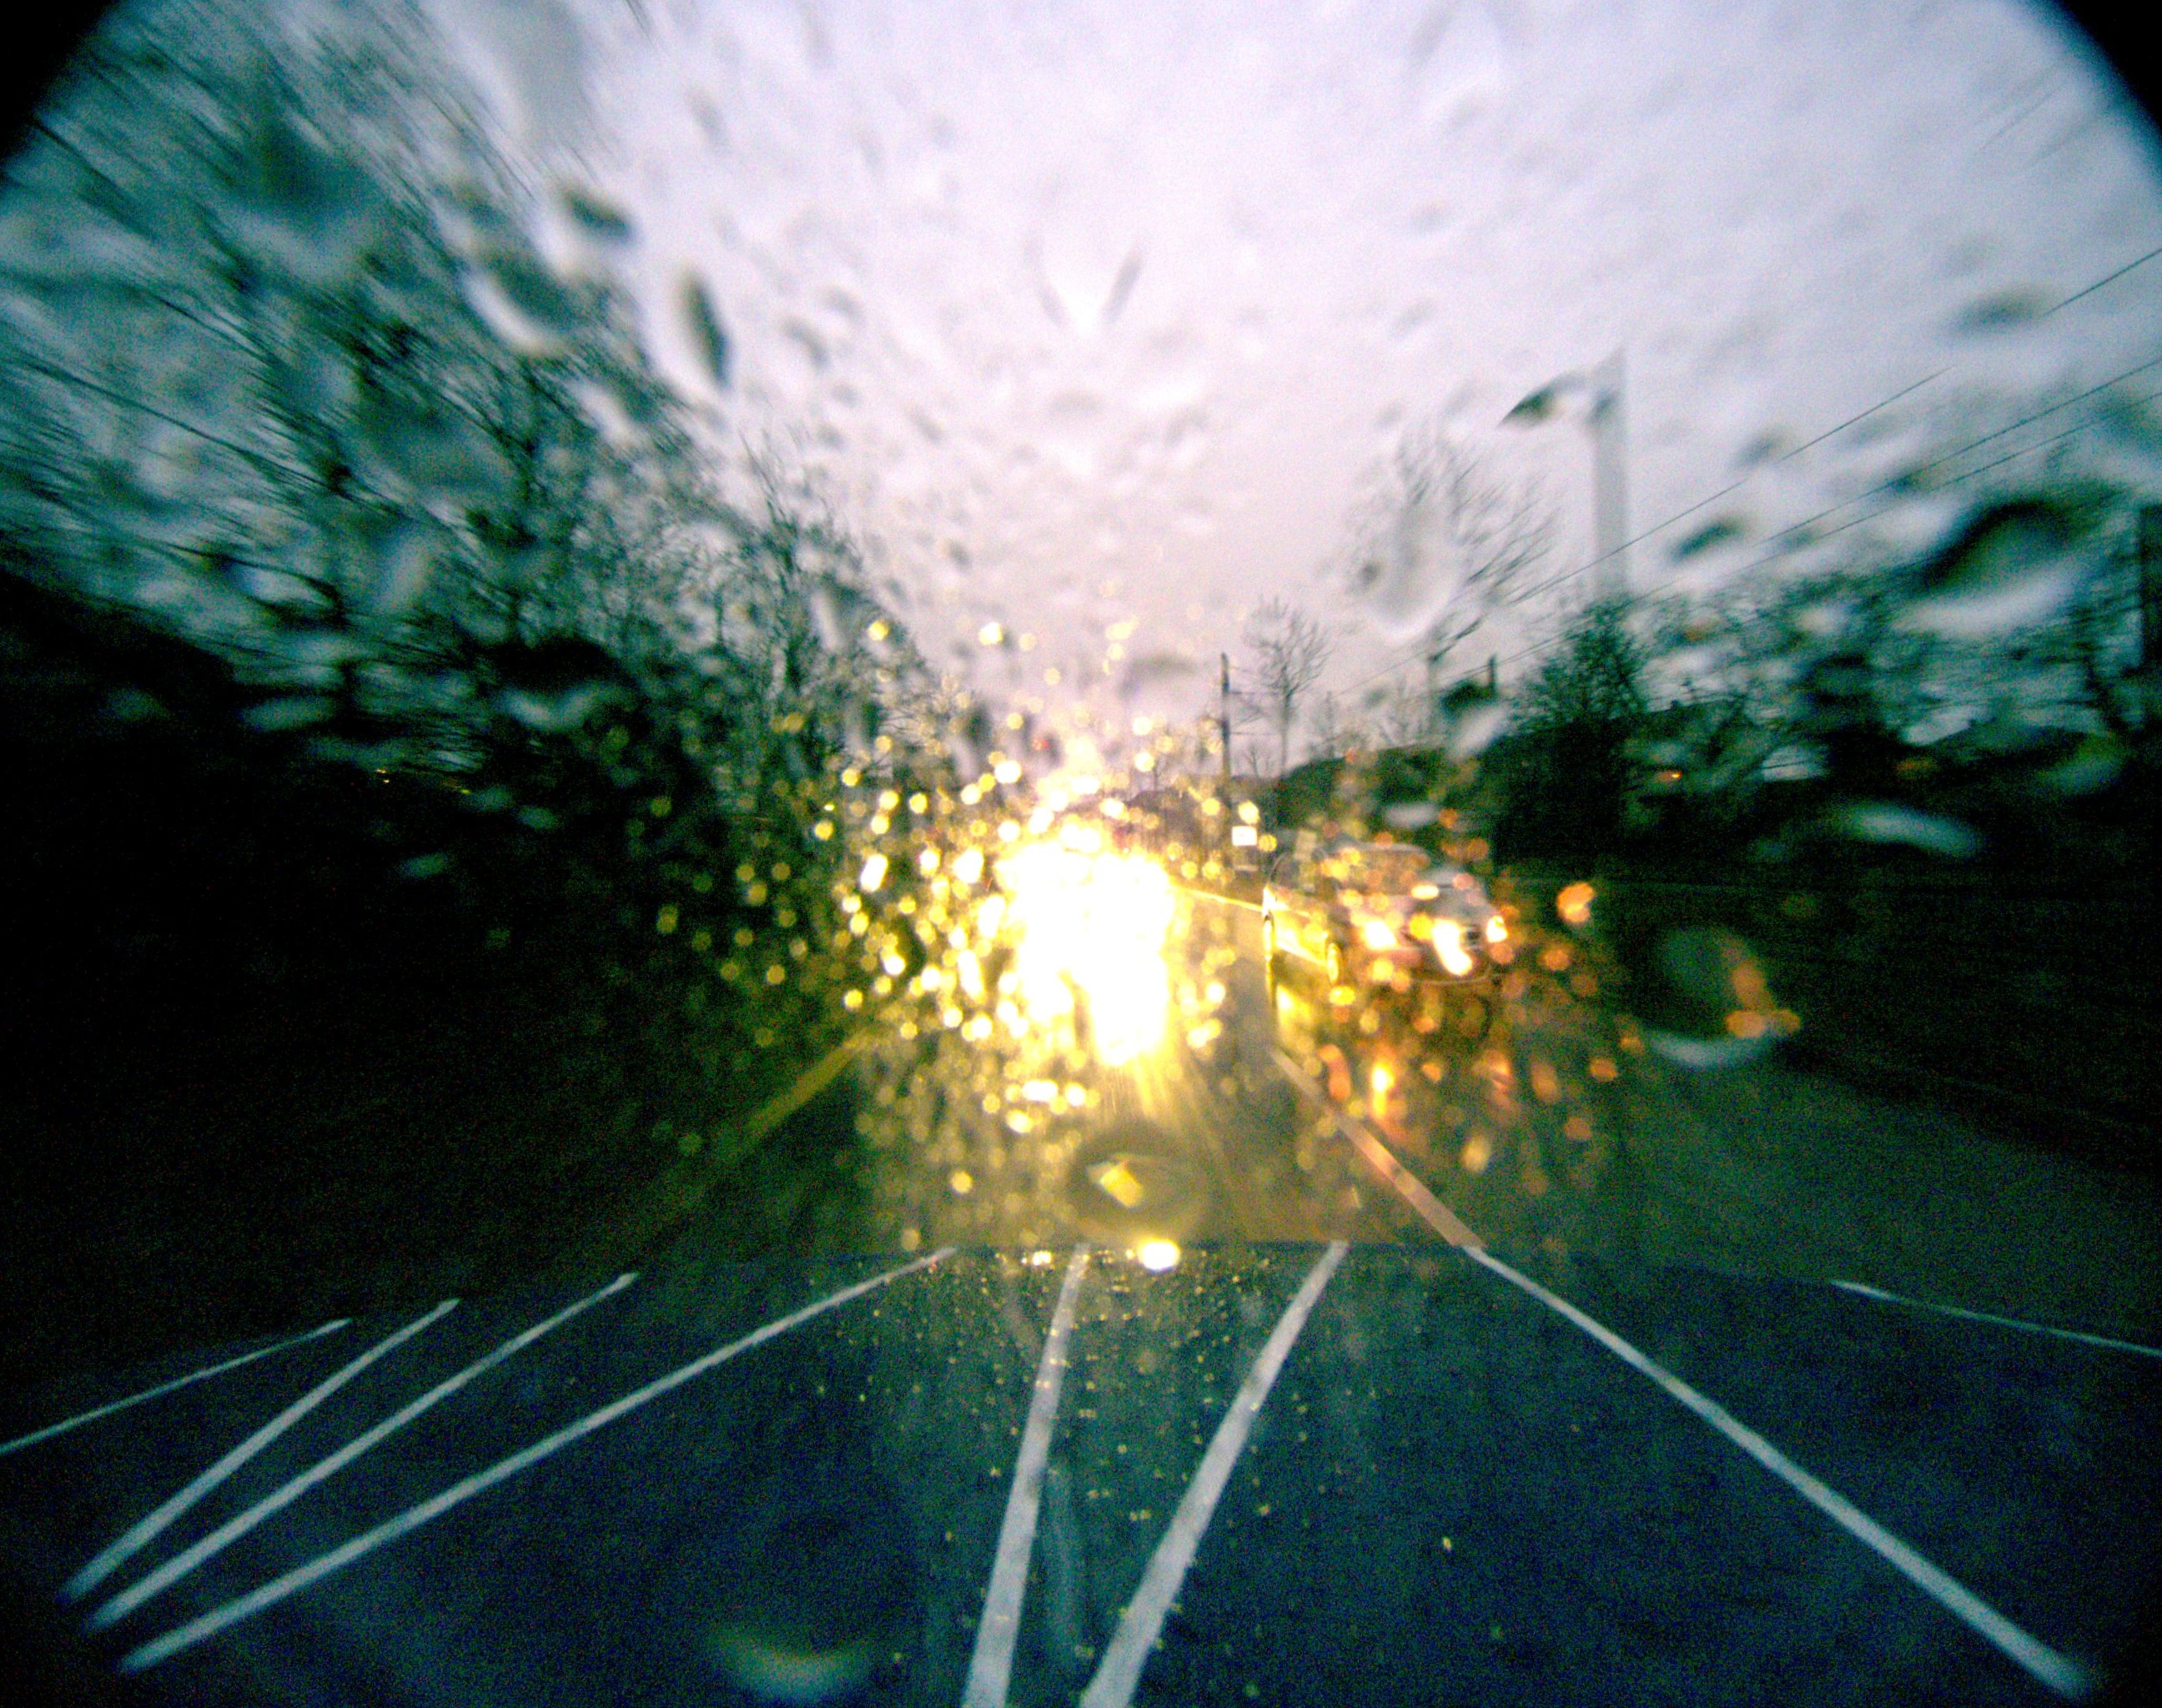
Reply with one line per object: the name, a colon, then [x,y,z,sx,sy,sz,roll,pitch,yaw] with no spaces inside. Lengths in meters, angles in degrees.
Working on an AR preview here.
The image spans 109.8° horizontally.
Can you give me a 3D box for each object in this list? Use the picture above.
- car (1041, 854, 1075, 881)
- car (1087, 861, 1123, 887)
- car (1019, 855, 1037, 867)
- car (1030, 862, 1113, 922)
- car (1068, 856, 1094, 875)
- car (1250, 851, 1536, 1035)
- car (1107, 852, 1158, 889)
car: [-1.485,0.806,47.855,1.950,1.546,4.216,-2,0,-3]
car: [1.523,1.263,49.067,1.845,1.546,4.215,-2,0,-4]
car: [-7.214,0.906,102.313,1.951,1.546,4.213,-2,0,-10]
car: [-0.267,0.894,19.594,1.897,1.347,4.289,-1,0,-1]
car: [-0.005,0.956,65.621,1.950,1.546,4.216,-2,0,-3]
car: [3.206,0.793,8.712,1.669,1.566,3.922,-2,0,1]
car: [2.286,0.709,34.817,1.924,1.546,4.216,-2,0,-1]
